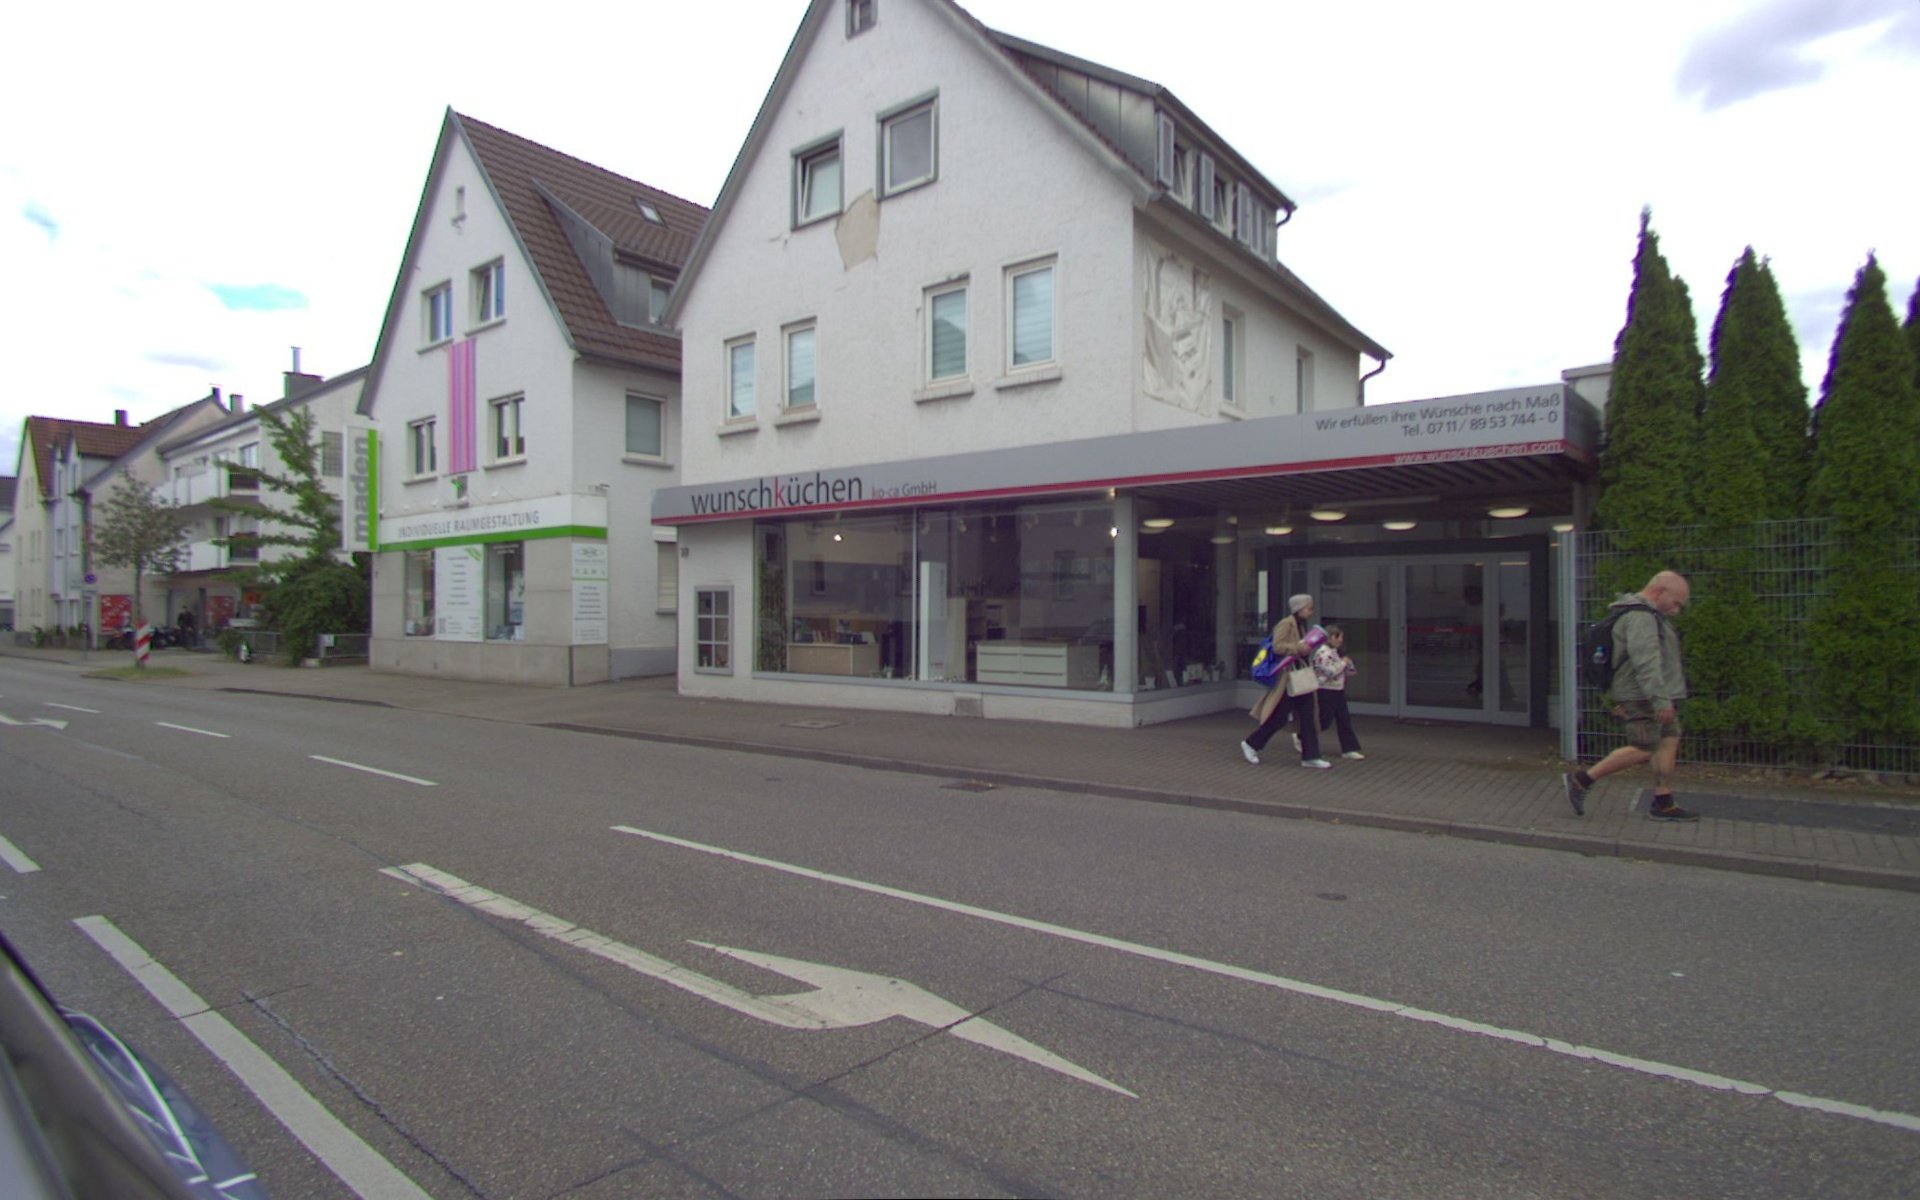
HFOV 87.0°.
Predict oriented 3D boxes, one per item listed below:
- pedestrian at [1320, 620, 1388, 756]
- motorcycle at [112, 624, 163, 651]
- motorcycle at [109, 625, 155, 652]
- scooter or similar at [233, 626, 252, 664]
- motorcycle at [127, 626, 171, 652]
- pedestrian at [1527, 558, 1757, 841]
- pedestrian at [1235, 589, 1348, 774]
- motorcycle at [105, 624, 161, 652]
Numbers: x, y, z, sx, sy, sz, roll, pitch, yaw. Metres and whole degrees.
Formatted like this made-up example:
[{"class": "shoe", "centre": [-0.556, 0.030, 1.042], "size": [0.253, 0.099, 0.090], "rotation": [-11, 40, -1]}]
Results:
[{"class": "pedestrian", "centre": [3.815, 0.835, 9.806], "size": [0.548, 1.271, 0.379], "rotation": [-1, 0, 30]}, {"class": "motorcycle", "centre": [-37.076, 1.672, 45.630], "size": [0.558, 1.114, 1.658], "rotation": [-1, 1, 39]}, {"class": "motorcycle", "centre": [-36.088, 1.663, 44.127], "size": [1.494, 1.114, 0.590], "rotation": [-2, 1, -45]}, {"class": "scooter or similar", "centre": [-22.502, 1.402, 31.740], "size": [0.458, 1.132, 1.832], "rotation": [-1, -1, -36]}, {"class": "motorcycle", "centre": [-35.208, 1.679, 43.937], "size": [0.524, 1.030, 1.411], "rotation": [-1, 1, 39]}, {"class": "pedestrian", "centre": [4.737, 0.621, 7.044], "size": [1.229, 1.767, 0.813], "rotation": [-1, 0, 41]}, {"class": "pedestrian", "centre": [3.069, 0.715, 9.363], "size": [0.863, 1.617, 0.635], "rotation": [-1, 0, 30]}, {"class": "motorcycle", "centre": [-36.671, 1.669, 44.894], "size": [0.504, 1.114, 1.811], "rotation": [-1, 1, 39]}]
